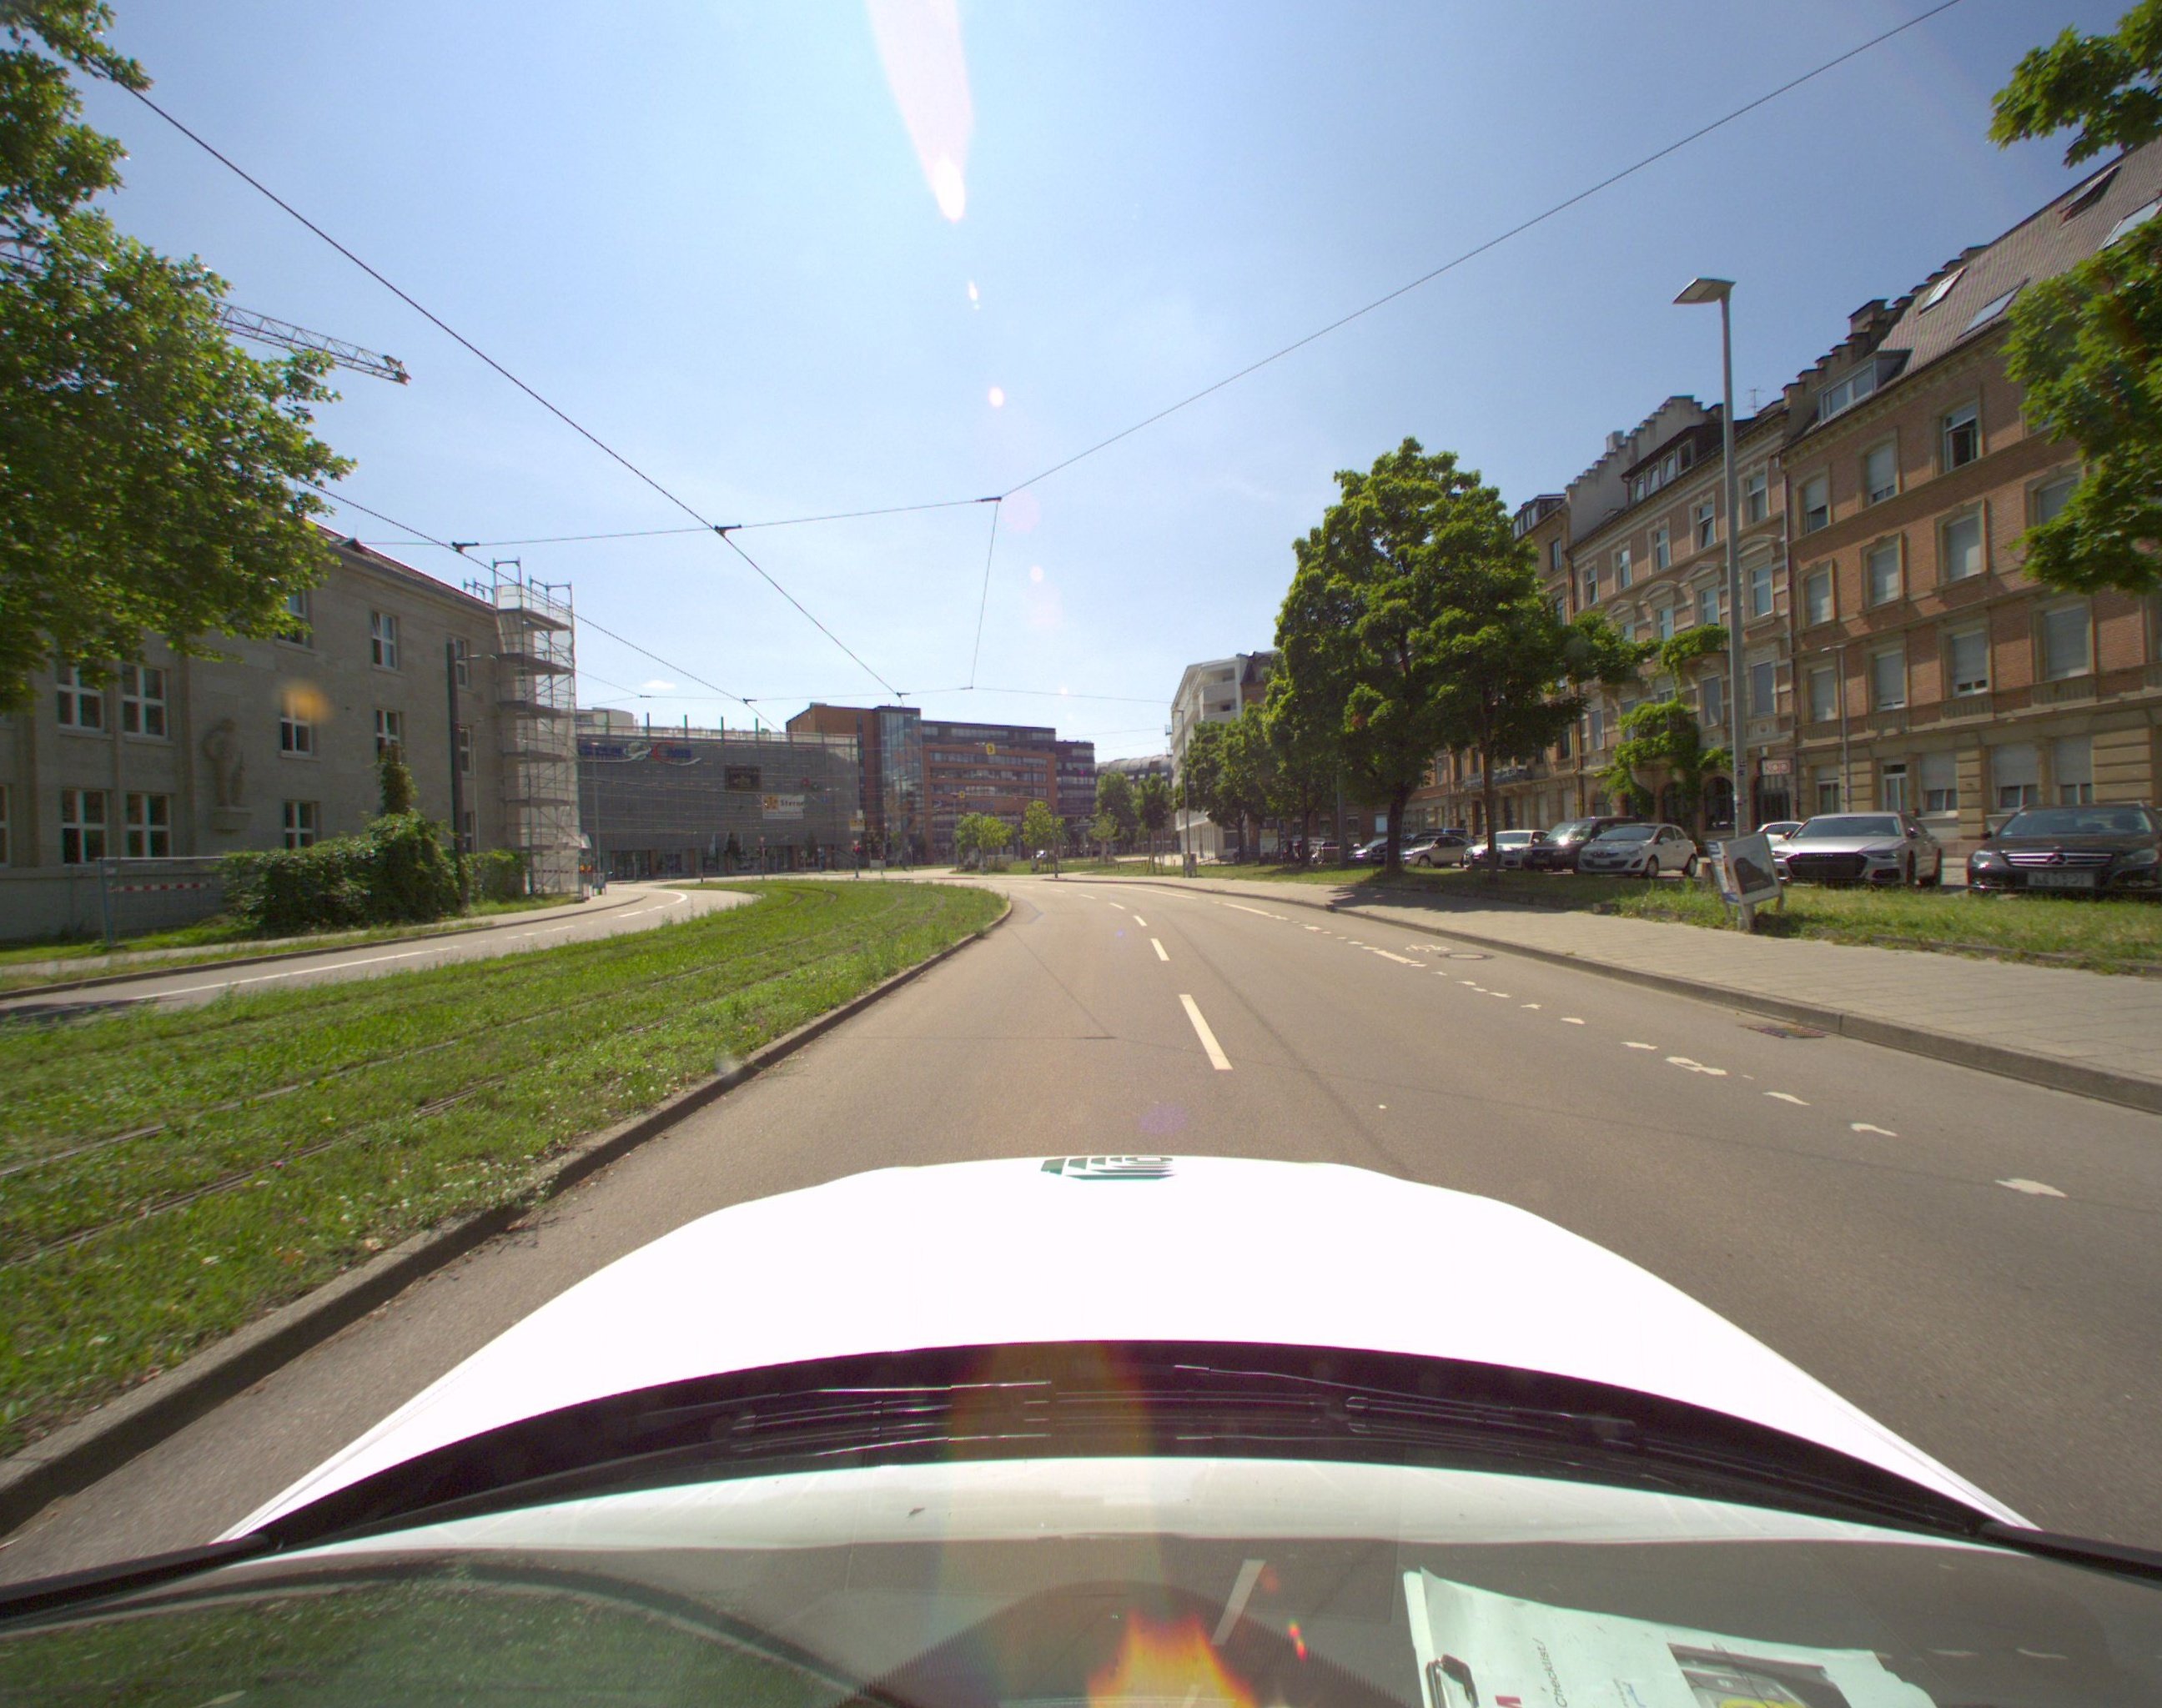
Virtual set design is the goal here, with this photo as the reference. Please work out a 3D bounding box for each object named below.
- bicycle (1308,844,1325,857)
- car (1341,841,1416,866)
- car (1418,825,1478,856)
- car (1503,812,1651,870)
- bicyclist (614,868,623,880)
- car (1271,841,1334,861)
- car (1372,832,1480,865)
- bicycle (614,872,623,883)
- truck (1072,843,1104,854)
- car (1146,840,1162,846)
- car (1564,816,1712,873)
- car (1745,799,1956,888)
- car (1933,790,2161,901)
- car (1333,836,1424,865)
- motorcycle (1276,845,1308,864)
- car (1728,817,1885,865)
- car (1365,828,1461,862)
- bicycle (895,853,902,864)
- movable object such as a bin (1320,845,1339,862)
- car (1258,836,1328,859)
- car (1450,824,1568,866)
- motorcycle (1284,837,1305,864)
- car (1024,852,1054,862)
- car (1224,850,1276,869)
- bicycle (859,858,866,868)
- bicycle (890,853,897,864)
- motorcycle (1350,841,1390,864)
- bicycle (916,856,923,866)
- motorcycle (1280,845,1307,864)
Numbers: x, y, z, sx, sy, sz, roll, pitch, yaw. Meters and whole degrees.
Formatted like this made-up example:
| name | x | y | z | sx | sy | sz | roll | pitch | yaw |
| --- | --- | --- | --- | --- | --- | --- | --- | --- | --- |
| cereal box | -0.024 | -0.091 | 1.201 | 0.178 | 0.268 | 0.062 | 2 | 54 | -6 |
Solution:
| name | x | y | z | sx | sy | sz | roll | pitch | yaw |
| --- | --- | --- | --- | --- | --- | --- | --- | --- | --- |
| bicycle | 14.498 | -0.229 | 50.091 | 0.492 | 0.805 | 1.465 | -1 | 0 | 36 |
| car | 17.906 | -0.020 | 49.124 | 3.963 | 1.376 | 1.962 | -1 | 0 | 9 |
| car | 23.788 | -0.812 | 52.963 | 1.912 | 1.904 | 4.657 | -1 | 0 | 2 |
| car | 15.181 | -0.393 | 24.932 | 4.006 | 1.662 | 1.956 | -1 | 0 | -24 |
| bicyclist | -64.738 | 2.802 | 113.960 | 1.046 | 1.571 | 0.770 | -1 | 0 | -29 |
| car | 15.137 | -0.225 | 55.730 | 4.007 | 1.332 | 1.744 | -1 | 0 | -26 |
| car | 14.641 | -0.242 | 34.592 | 4.000 | 1.313 | 1.959 | -1 | 0 | -20 |
| bicycle | -64.634 | 3.296 | 113.782 | 1.068 | 1.390 | 2.996 | -1 | 0 | -28 |
| truck | 1.935 | -1.537 | 223.297 | 9.120 | 2.809 | 2.013 | -1 | 0 | 34 |
| car | 20.788 | -3.128 | 231.389 | 3.948 | 1.728 | 1.878 | -1 | 0 | 32 |
| car | 14.848 | -0.242 | 21.671 | 4.012 | 1.400 | 1.696 | -1 | 0 | -31 |
| car | 14.433 | -0.183 | 15.206 | 4.712 | 1.427 | 1.951 | -1 | 0 | -35 |
| car | 14.384 | -0.120 | 11.738 | 4.446 | 1.338 | 1.953 | -1 | 0 | -31 |
| car | 14.707 | -0.196 | 40.187 | 4.354 | 1.376 | 1.570 | -1 | 0 | -24 |
| motorcycle | 12.801 | 0.016 | 49.372 | 1.819 | 1.120 | 0.527 | -1 | 0 | -6 |
| car | 23.118 | -0.389 | 26.140 | 1.772 | 1.420 | 3.716 | -1 | 0 | 1 |
| car | 15.142 | -0.407 | 37.155 | 4.100 | 1.470 | 1.783 | -1 | 0 | -26 |
| bicycle | -32.832 | 0.826 | 146.425 | 0.488 | 2.013 | 2.322 | -1 | 0 | -33 |
| movable object such as a bin | 14.062 | -0.051 | 46.186 | 0.979 | 0.937 | 0.704 | -1 | 0 | 13 |
| car | 15.274 | -0.449 | 58.578 | 4.883 | 1.601 | 1.821 | -1 | 0 | -26 |
| car | 14.674 | -0.286 | 27.790 | 4.815 | 1.313 | 2.123 | -1 | 0 | -44 |
| motorcycle | 11.777 | -0.208 | 44.947 | 0.672 | 1.413 | 1.858 | -3 | 0 | 3 |
| car | -7.829 | 0.545 | 150.852 | 5.510 | 1.668 | 1.976 | -1 | 0 | -41 |
| car | 14.879 | 0.462 | 71.664 | 4.077 | 1.624 | 1.706 | -1 | 0 | 31 |
| bicycle | -37.929 | 1.508 | 141.361 | 0.603 | 1.731 | 2.236 | -1 | 0 | -34 |
| bicycle | -33.561 | 0.797 | 145.908 | 0.488 | 2.013 | 2.322 | -1 | 0 | -33 |
| motorcycle | 16.207 | -0.081 | 45.661 | 2.062 | 1.236 | 0.816 | -1 | 0 | 17 |
| bicycle | -29.560 | 1.256 | 149.180 | 0.488 | 1.796 | 2.235 | -1 | 0 | -33 |
| motorcycle | 12.565 | 0.017 | 48.168 | 1.515 | 1.120 | 0.478 | -1 | 0 | 1 |
